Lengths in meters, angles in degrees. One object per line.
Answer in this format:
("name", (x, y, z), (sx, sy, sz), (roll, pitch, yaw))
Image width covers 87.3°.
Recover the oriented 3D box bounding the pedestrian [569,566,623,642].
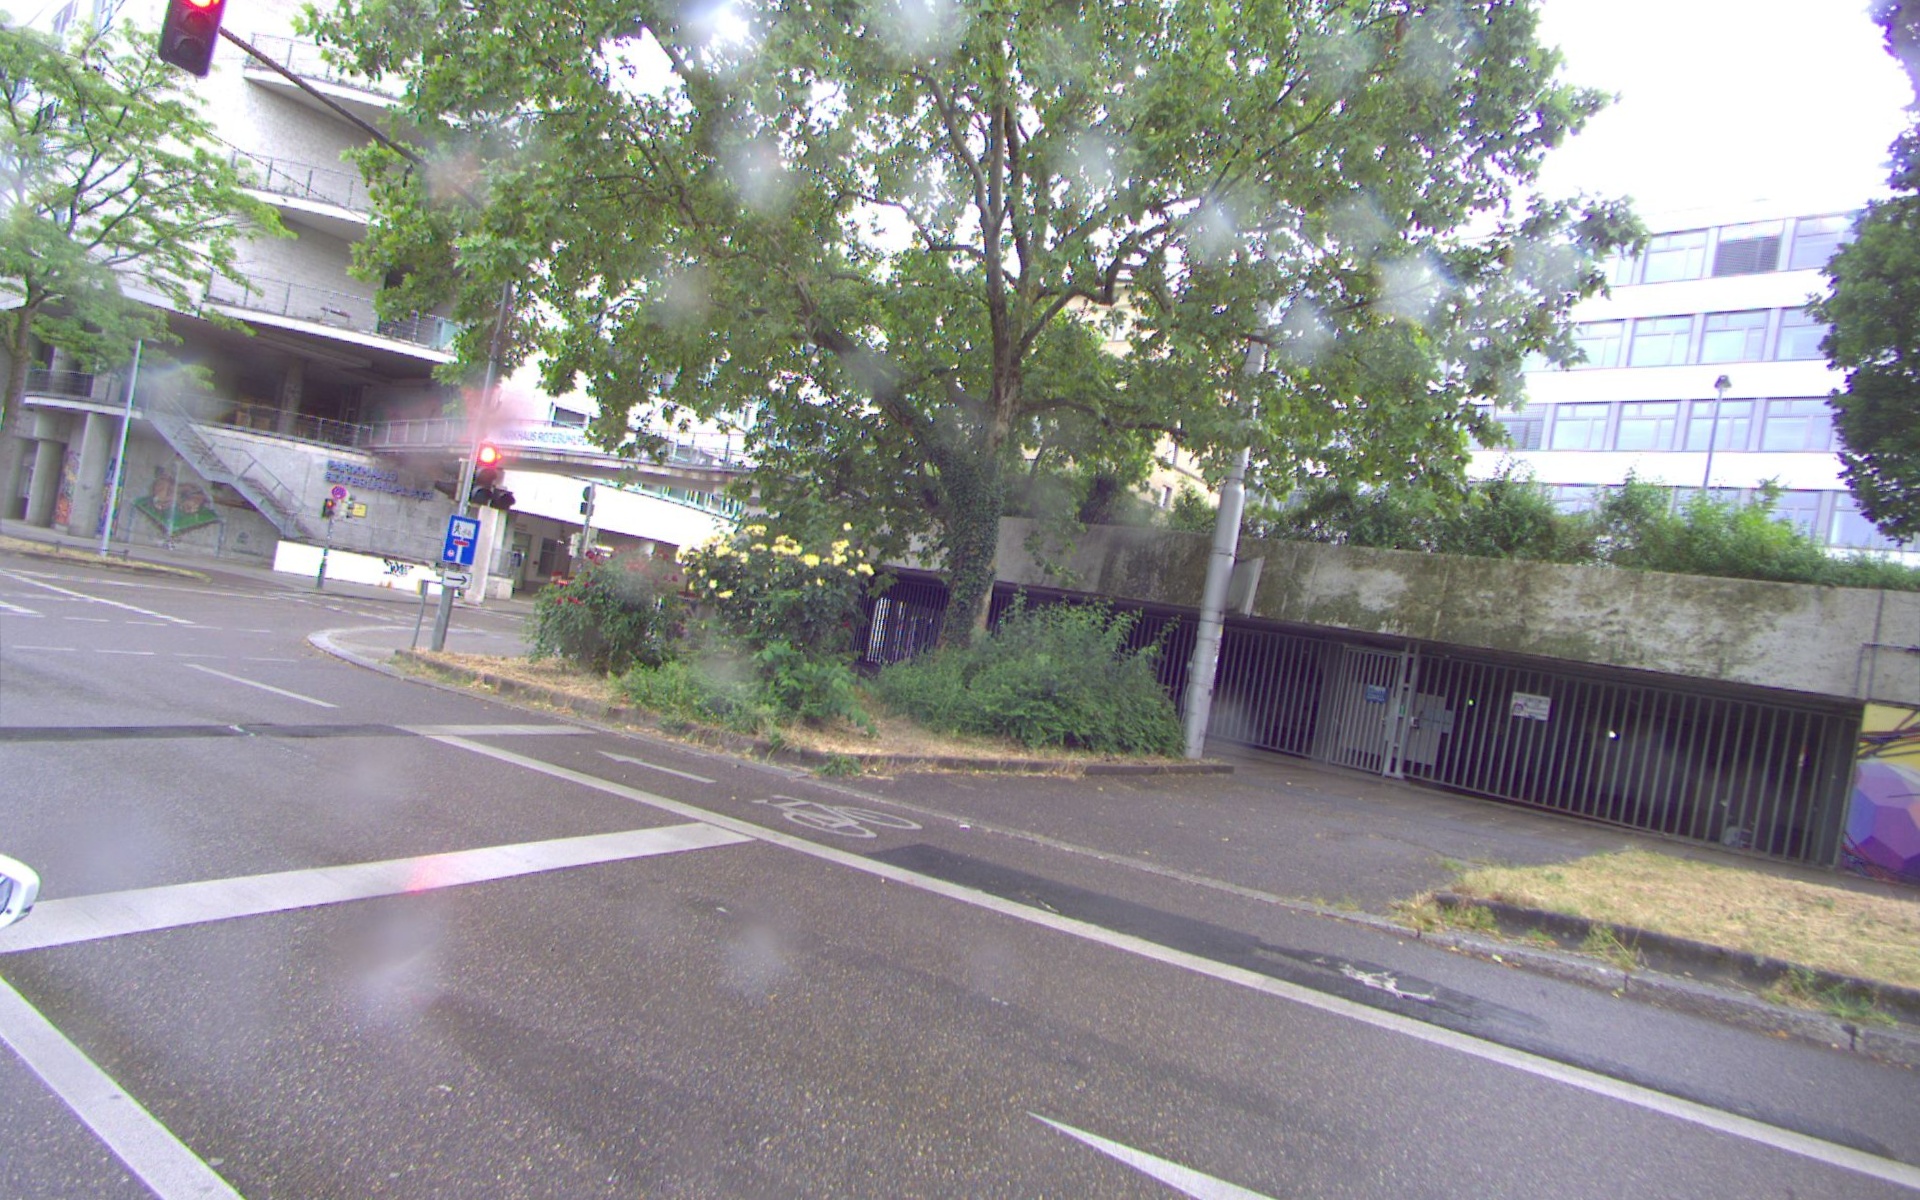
("pedestrian", (-9.944, 0.105, 27.497), (0.745, 1.932, 0.847), (8, -1, 31))
